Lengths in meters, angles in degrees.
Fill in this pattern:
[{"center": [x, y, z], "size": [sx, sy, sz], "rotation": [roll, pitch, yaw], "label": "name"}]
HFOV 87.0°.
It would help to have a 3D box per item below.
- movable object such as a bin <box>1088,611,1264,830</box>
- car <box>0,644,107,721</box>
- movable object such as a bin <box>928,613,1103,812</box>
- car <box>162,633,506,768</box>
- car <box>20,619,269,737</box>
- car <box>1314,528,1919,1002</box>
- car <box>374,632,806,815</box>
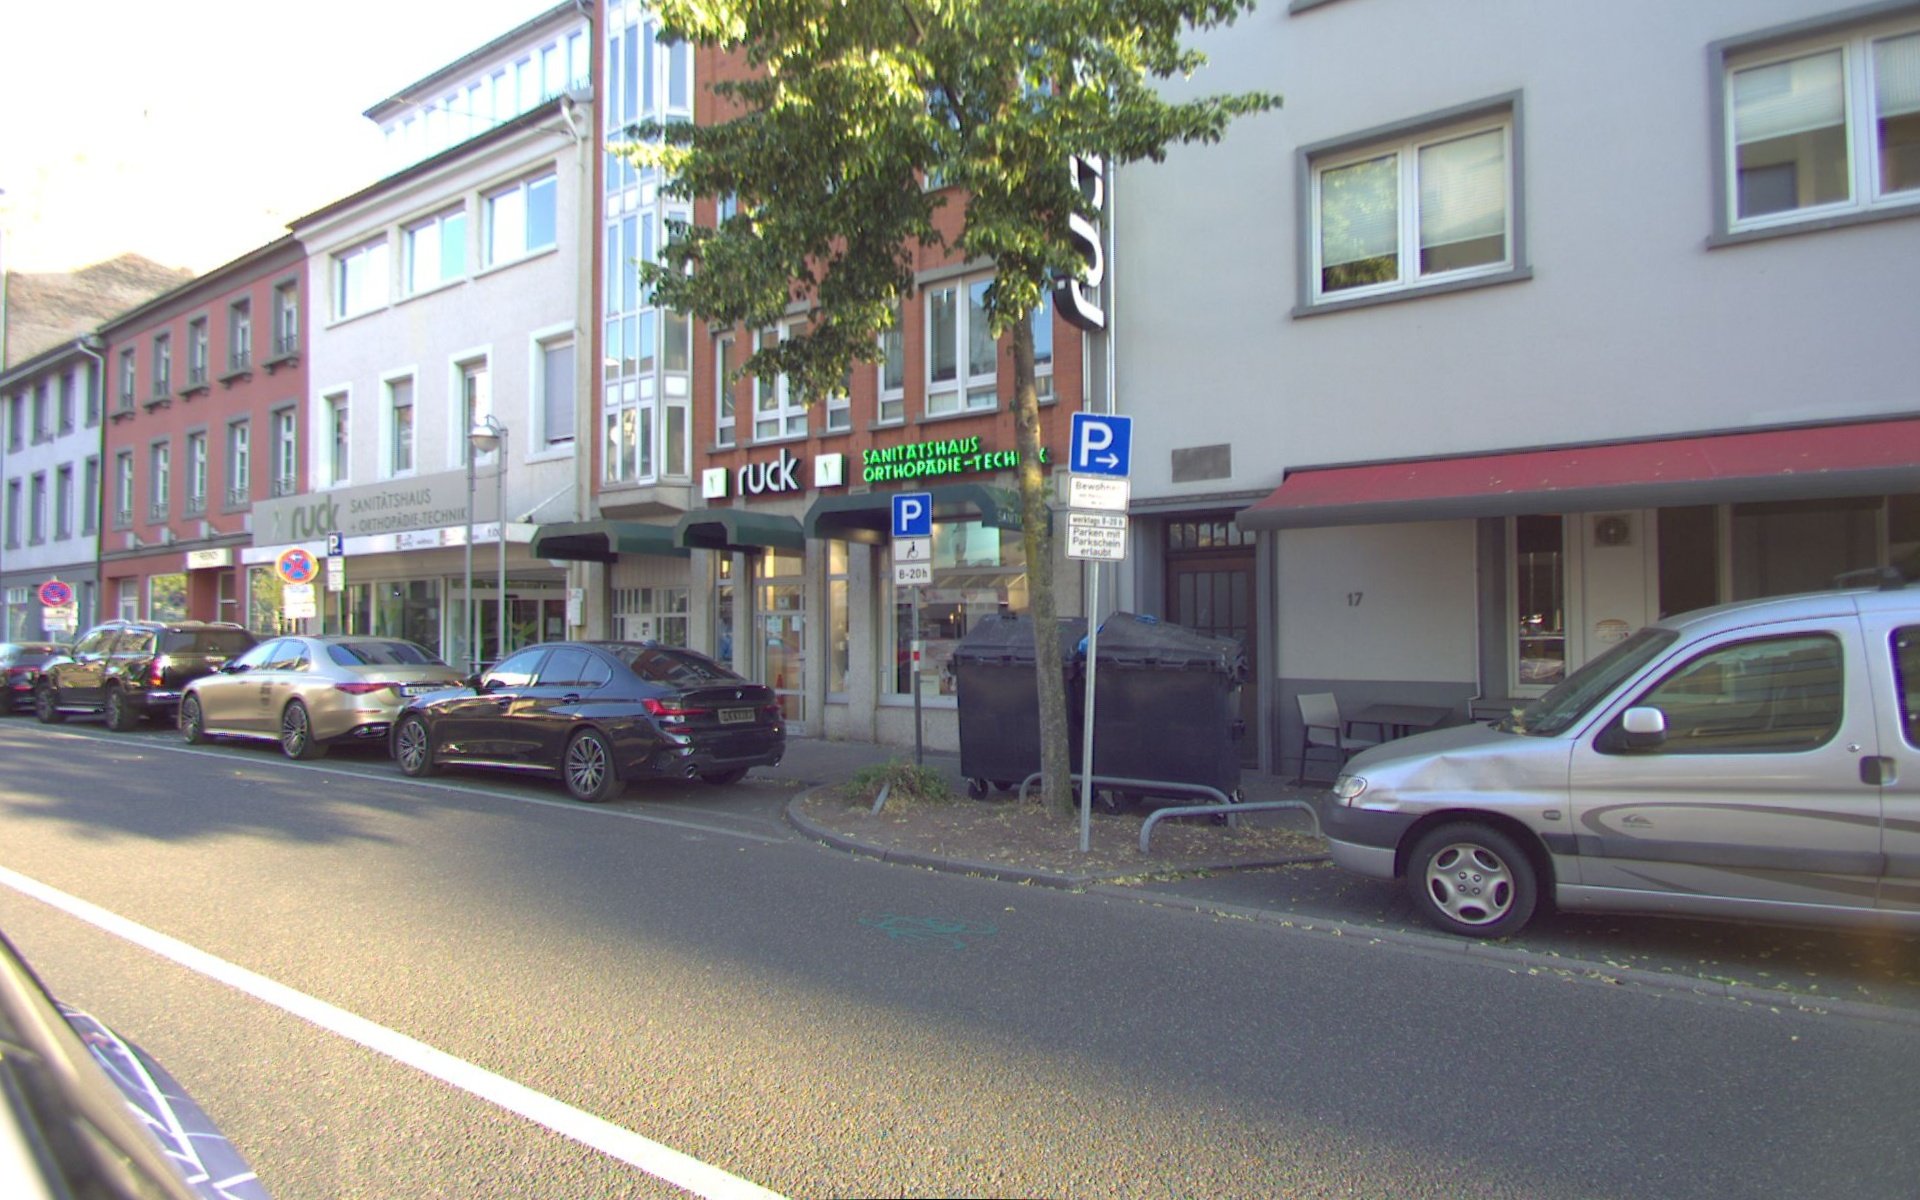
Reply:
[{"center": [1.770, 0.925, 8.278], "size": [1.203, 1.632, 0.775], "rotation": [-1, 0, 30], "label": "movable object such as a bin"}, {"center": [-19.319, 1.647, 20.688], "size": [4.001, 1.448, 1.688], "rotation": [-2, -5, 32], "label": "car"}, {"center": [0.493, 0.946, 9.019], "size": [1.331, 1.632, 0.775], "rotation": [-1, -1, 30], "label": "movable object such as a bin"}, {"center": [-8.414, 1.235, 13.448], "size": [5.094, 1.484, 1.977], "rotation": [-2, -4, 34], "label": "car"}, {"center": [-14.039, 1.286, 17.347], "size": [4.921, 1.793, 1.708], "rotation": [-2, -4, 31], "label": "car"}, {"center": [3.996, 0.709, 4.973], "size": [4.038, 1.902, 1.657], "rotation": [-1, -4, 31], "label": "car"}, {"center": [-3.836, 1.111, 10.202], "size": [4.528, 1.484, 1.706], "rotation": [-2, -5, 33], "label": "car"}]
